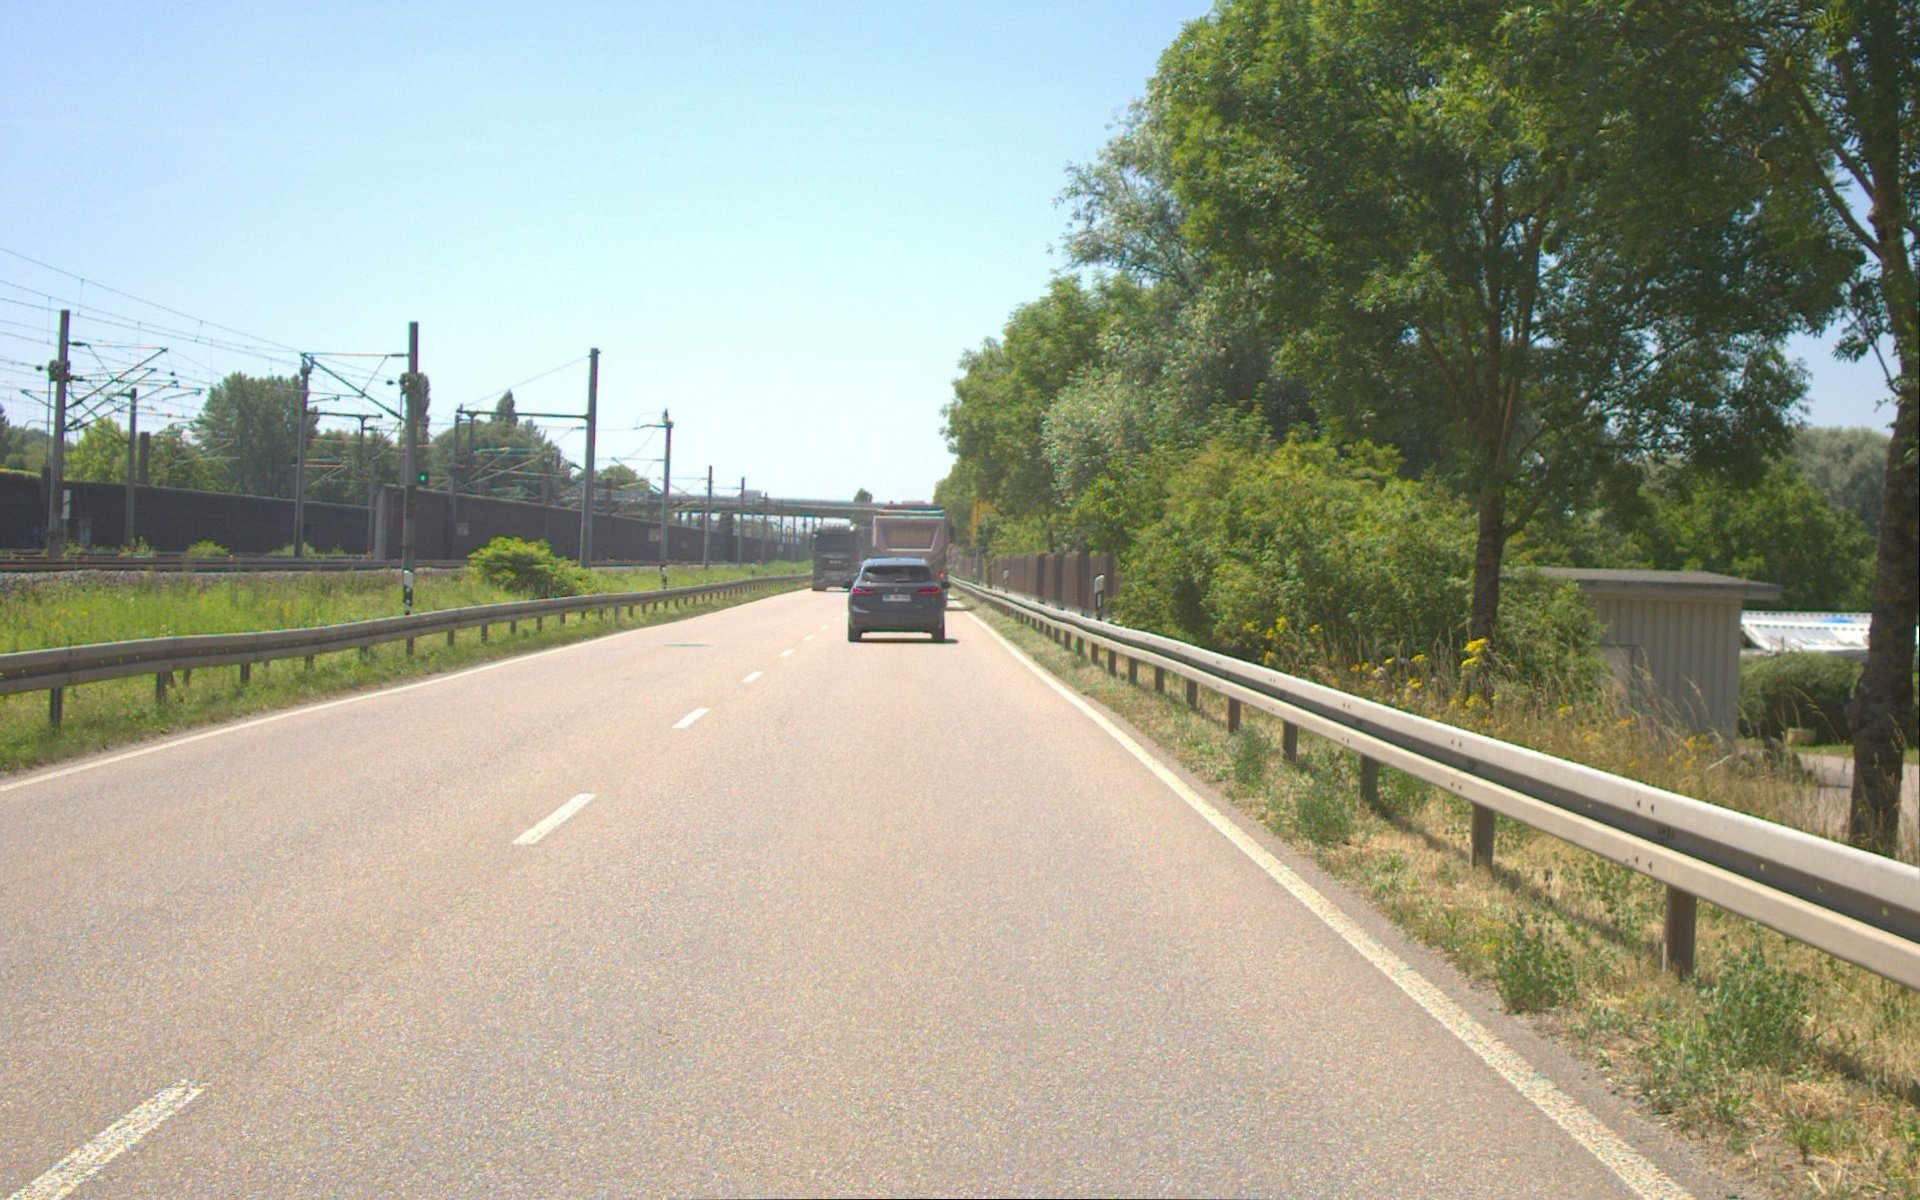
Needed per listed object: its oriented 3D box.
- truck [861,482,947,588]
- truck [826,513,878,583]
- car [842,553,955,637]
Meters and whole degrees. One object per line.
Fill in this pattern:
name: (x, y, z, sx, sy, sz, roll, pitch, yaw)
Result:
truck: (-1.899, -2.179, 117.848, 2.770, 3.414, 10.820, 1, 1, -1)
truck: (-5.810, -2.803, 185.110, 2.658, 3.614, 10.979, 1, 1, -2)
car: (-1.189, -0.124, 64.859, 1.993, 1.503, 4.001, 0, 1, -3)
